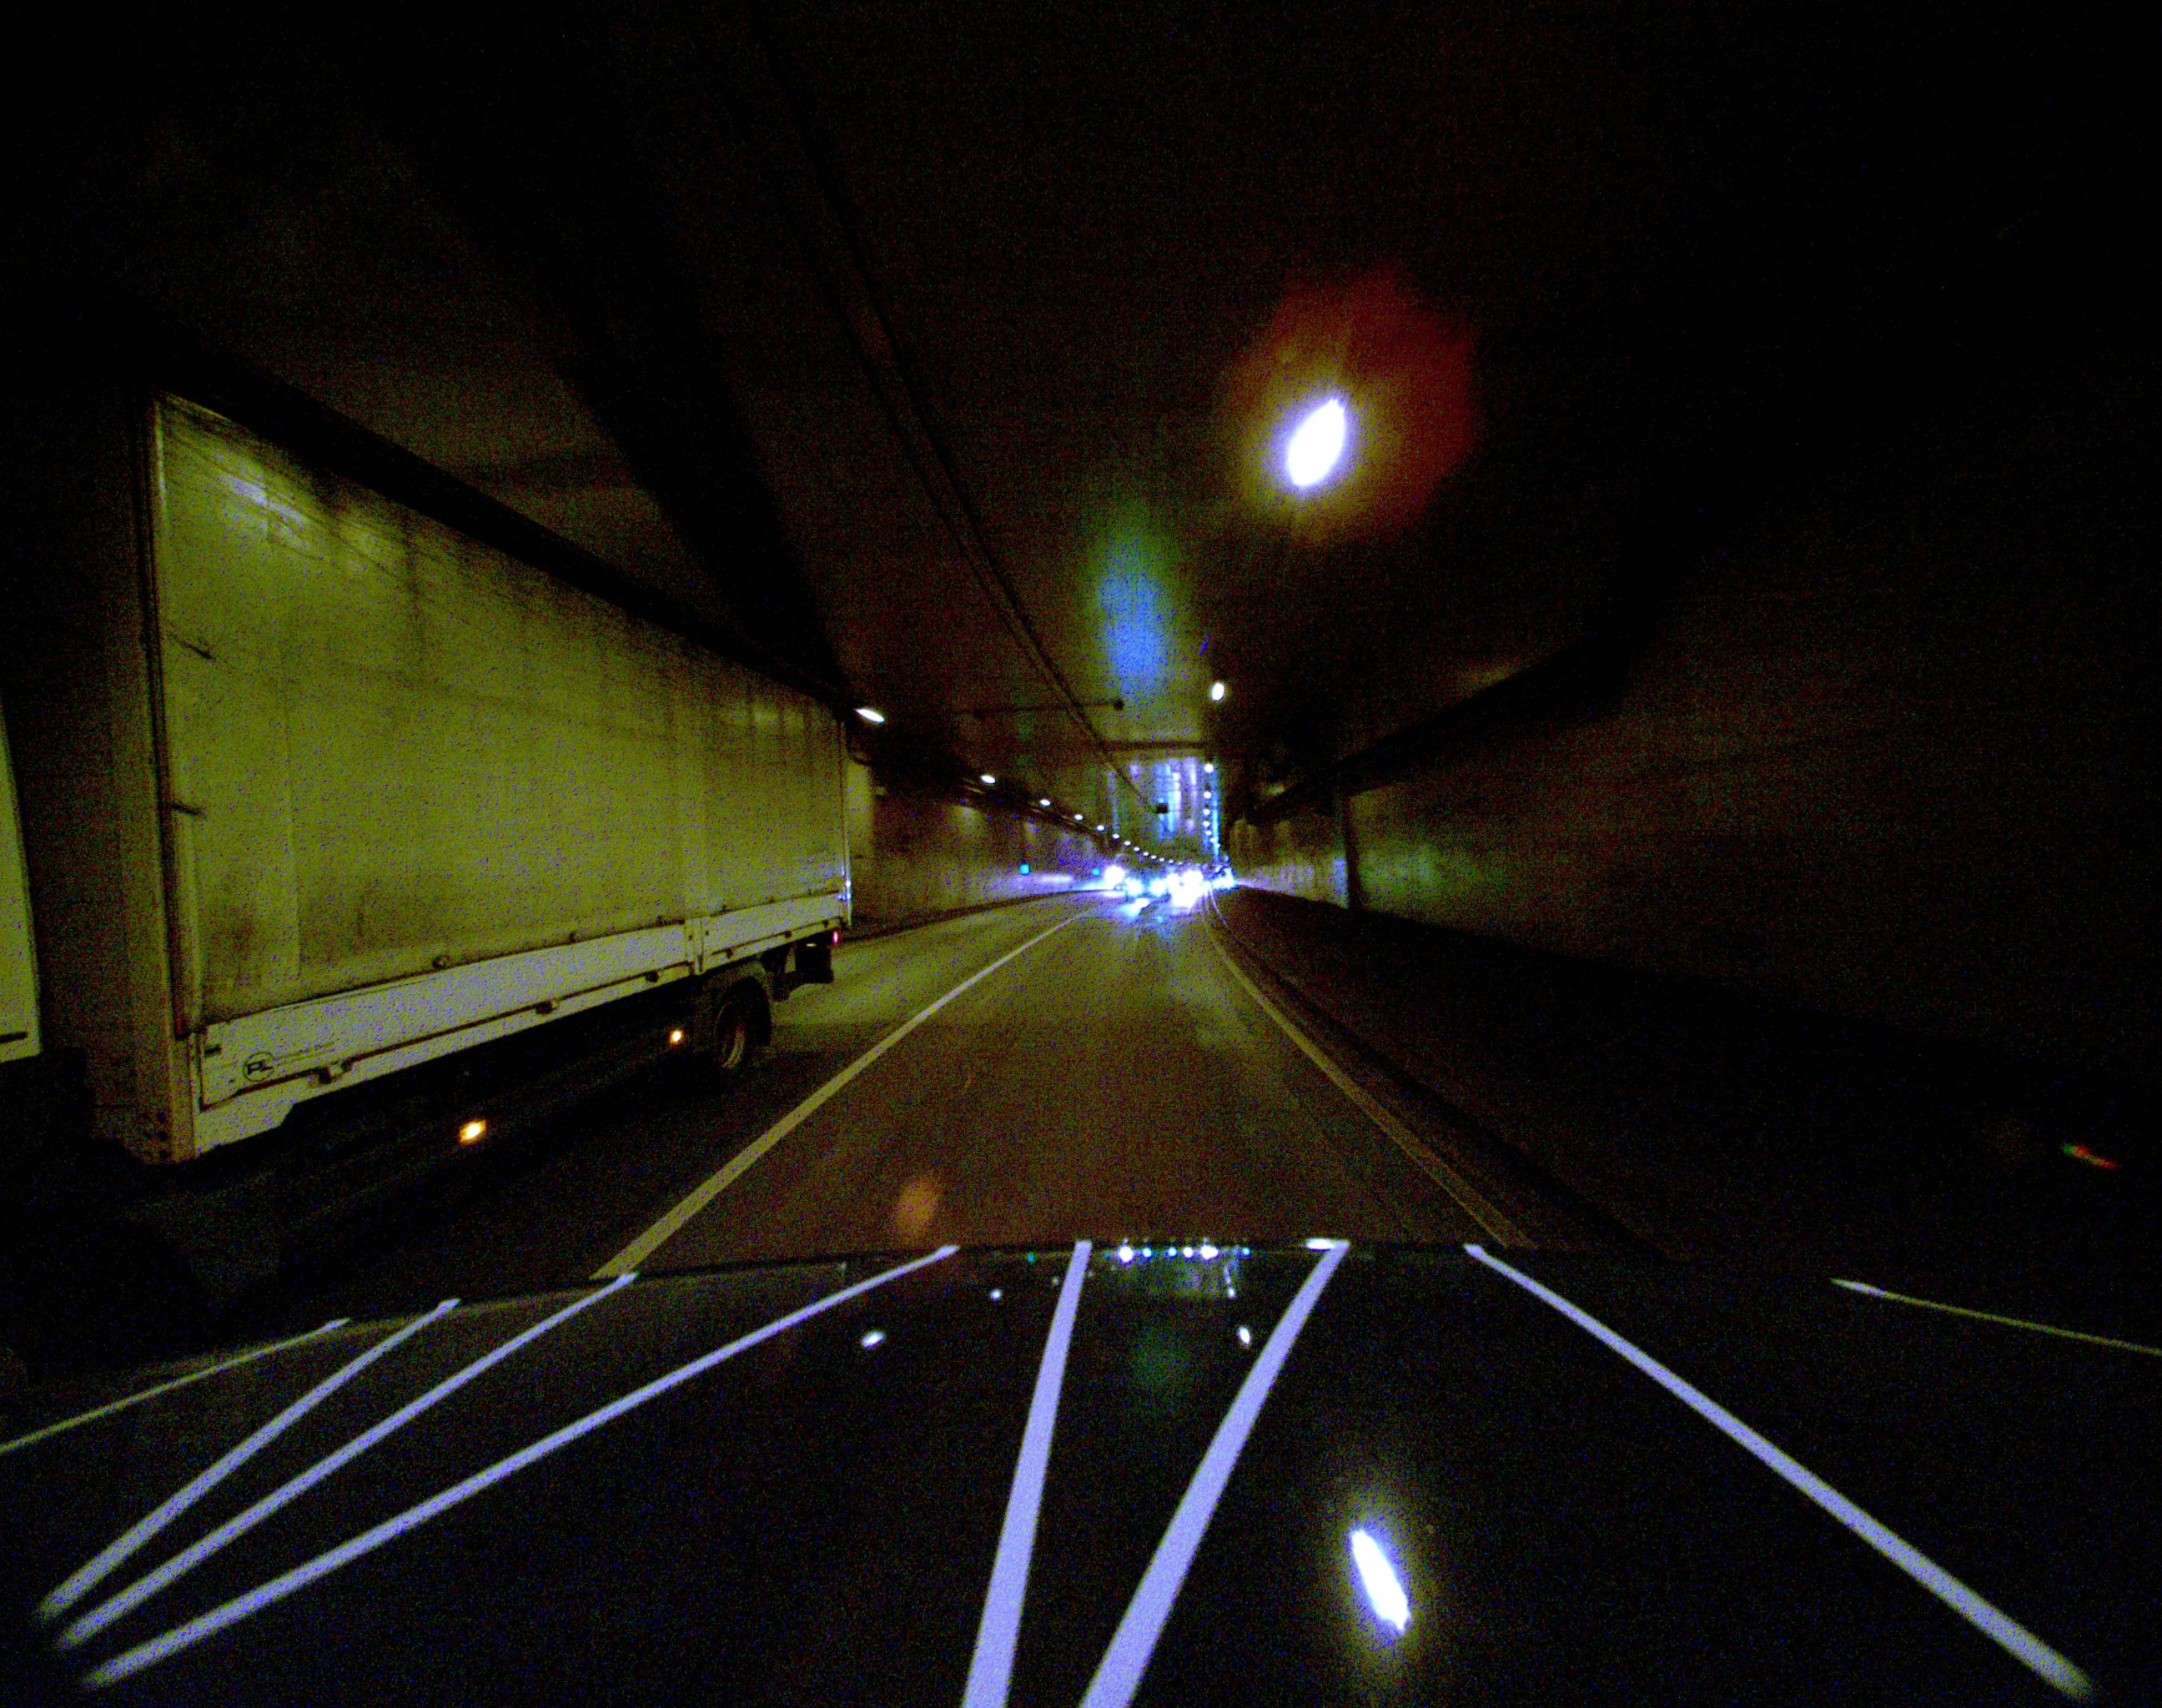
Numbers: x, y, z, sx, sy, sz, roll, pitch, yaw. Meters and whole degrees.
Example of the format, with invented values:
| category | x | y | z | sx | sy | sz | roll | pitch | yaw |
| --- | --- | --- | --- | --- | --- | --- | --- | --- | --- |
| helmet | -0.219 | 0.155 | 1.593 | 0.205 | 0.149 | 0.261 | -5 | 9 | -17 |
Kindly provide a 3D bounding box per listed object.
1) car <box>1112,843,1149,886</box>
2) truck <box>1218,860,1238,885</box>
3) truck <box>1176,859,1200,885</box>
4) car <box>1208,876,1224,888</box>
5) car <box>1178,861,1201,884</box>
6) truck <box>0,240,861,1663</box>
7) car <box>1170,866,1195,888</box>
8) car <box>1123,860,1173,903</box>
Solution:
| category | x | y | z | sx | sy | sz | roll | pitch | yaw |
| --- | --- | --- | --- | --- | --- | --- | --- | --- | --- |
| car | 3.701 | 0.854 | 55.583 | 2.105 | 2.829 | 6.869 | -2 | -3 | 8 |
| truck | 30.899 | 3.792 | 159.181 | 2.884 | 4.446 | 10.465 | -5 | 0 | 16 |
| truck | 12.115 | 1.998 | 85.738 | 2.072 | 2.524 | 6.028 | -5 | 0 | 12 |
| car | 21.518 | 4.461 | 121.041 | 1.948 | 1.525 | 4.004 | -5 | 1 | 18 |
| car | 10.259 | 1.795 | 71.694 | 1.934 | 1.917 | 4.202 | -4 | -4 | 9 |
| truck | -3.610 | 0.200 | 3.788 | 2.559 | 3.163 | 7.245 | -2 | 1 | 2 |
| car | 7.906 | 1.775 | 59.466 | 1.763 | 1.551 | 3.821 | -4 | -1 | 7 |
| car | 2.668 | 1.020 | 29.602 | 1.638 | 1.551 | 3.719 | -2 | -1 | 9 |
